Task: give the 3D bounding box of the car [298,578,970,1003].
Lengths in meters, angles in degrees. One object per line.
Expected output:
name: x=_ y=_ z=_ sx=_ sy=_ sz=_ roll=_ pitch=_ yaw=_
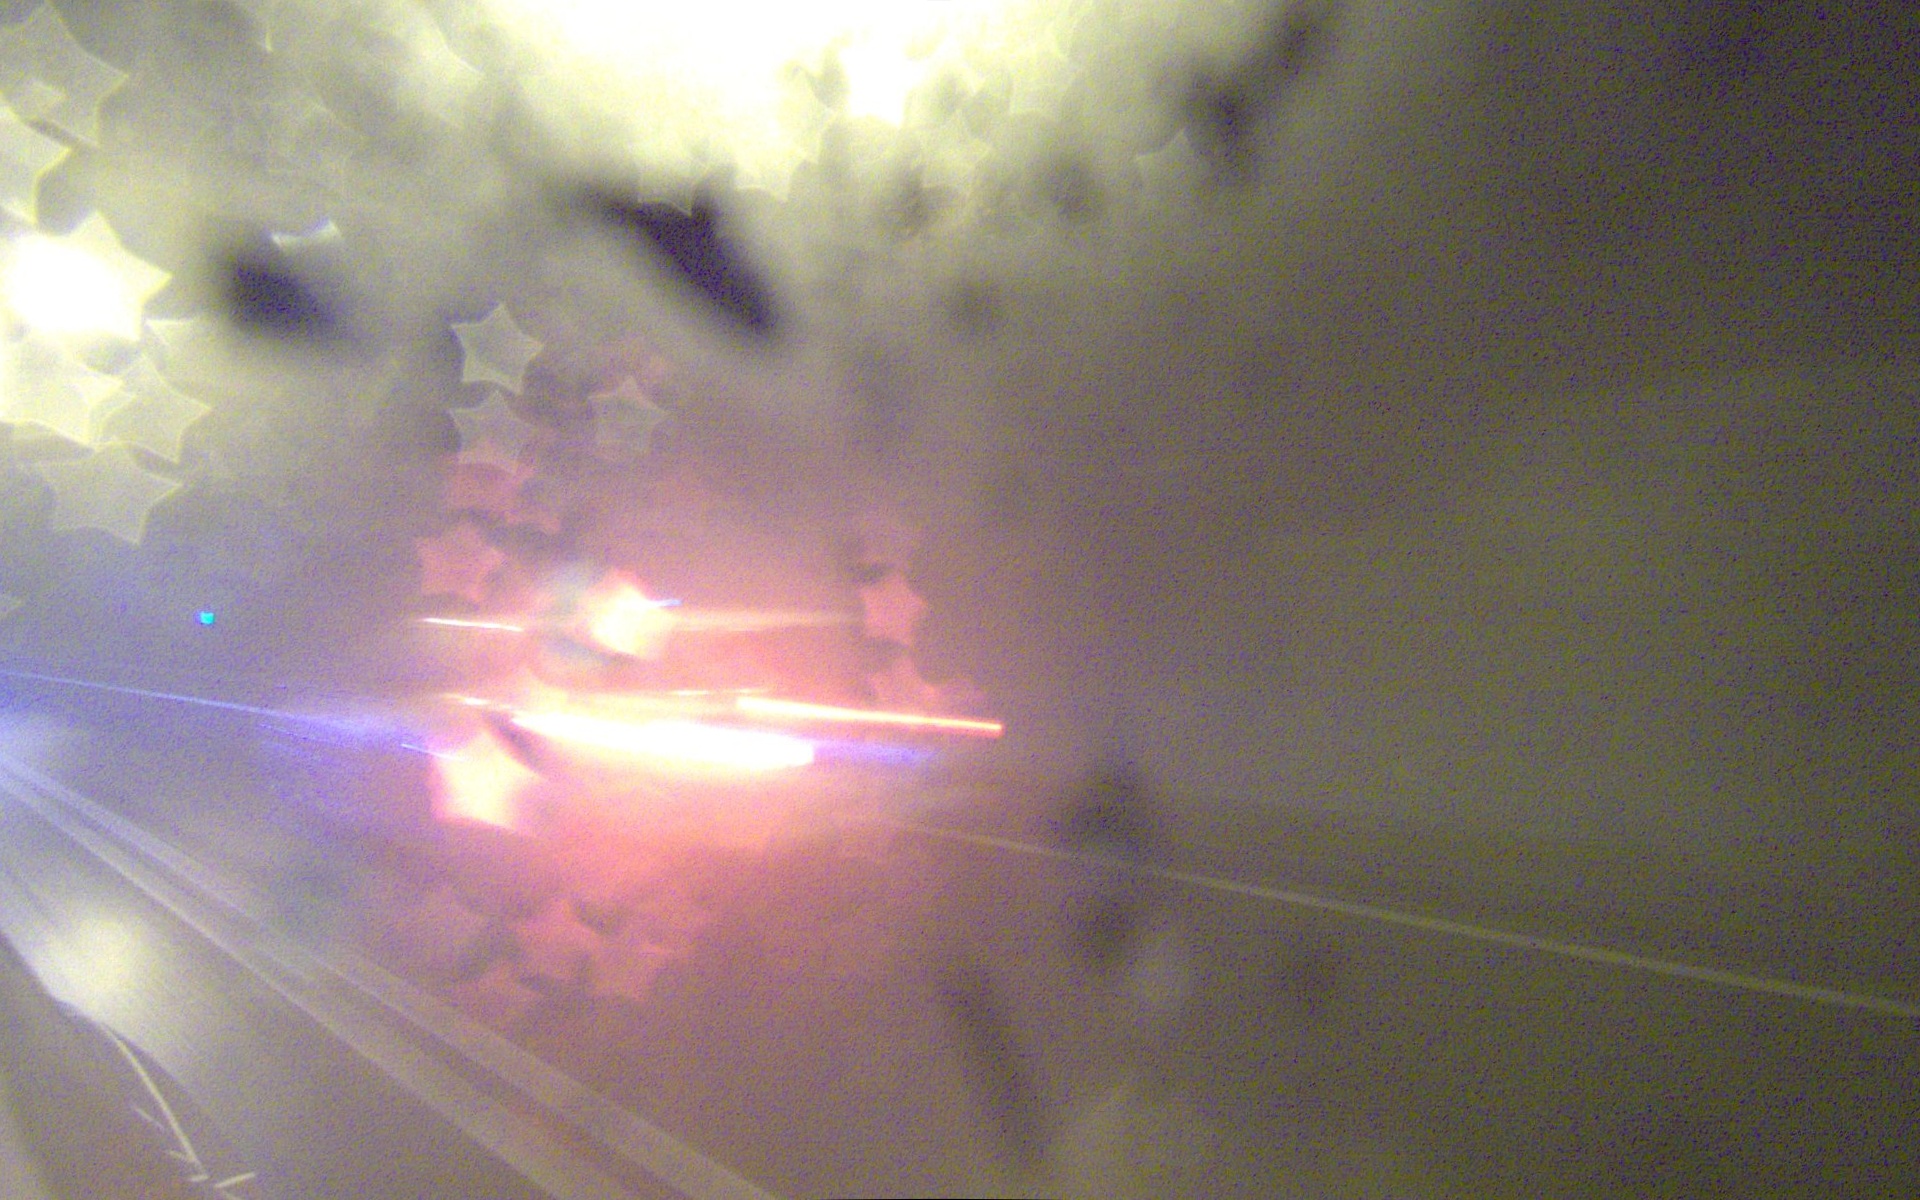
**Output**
car: x=-2.040 y=0.733 z=5.625 sx=4.077 sy=1.522 sz=1.691 roll=-1 pitch=-2 yaw=41
